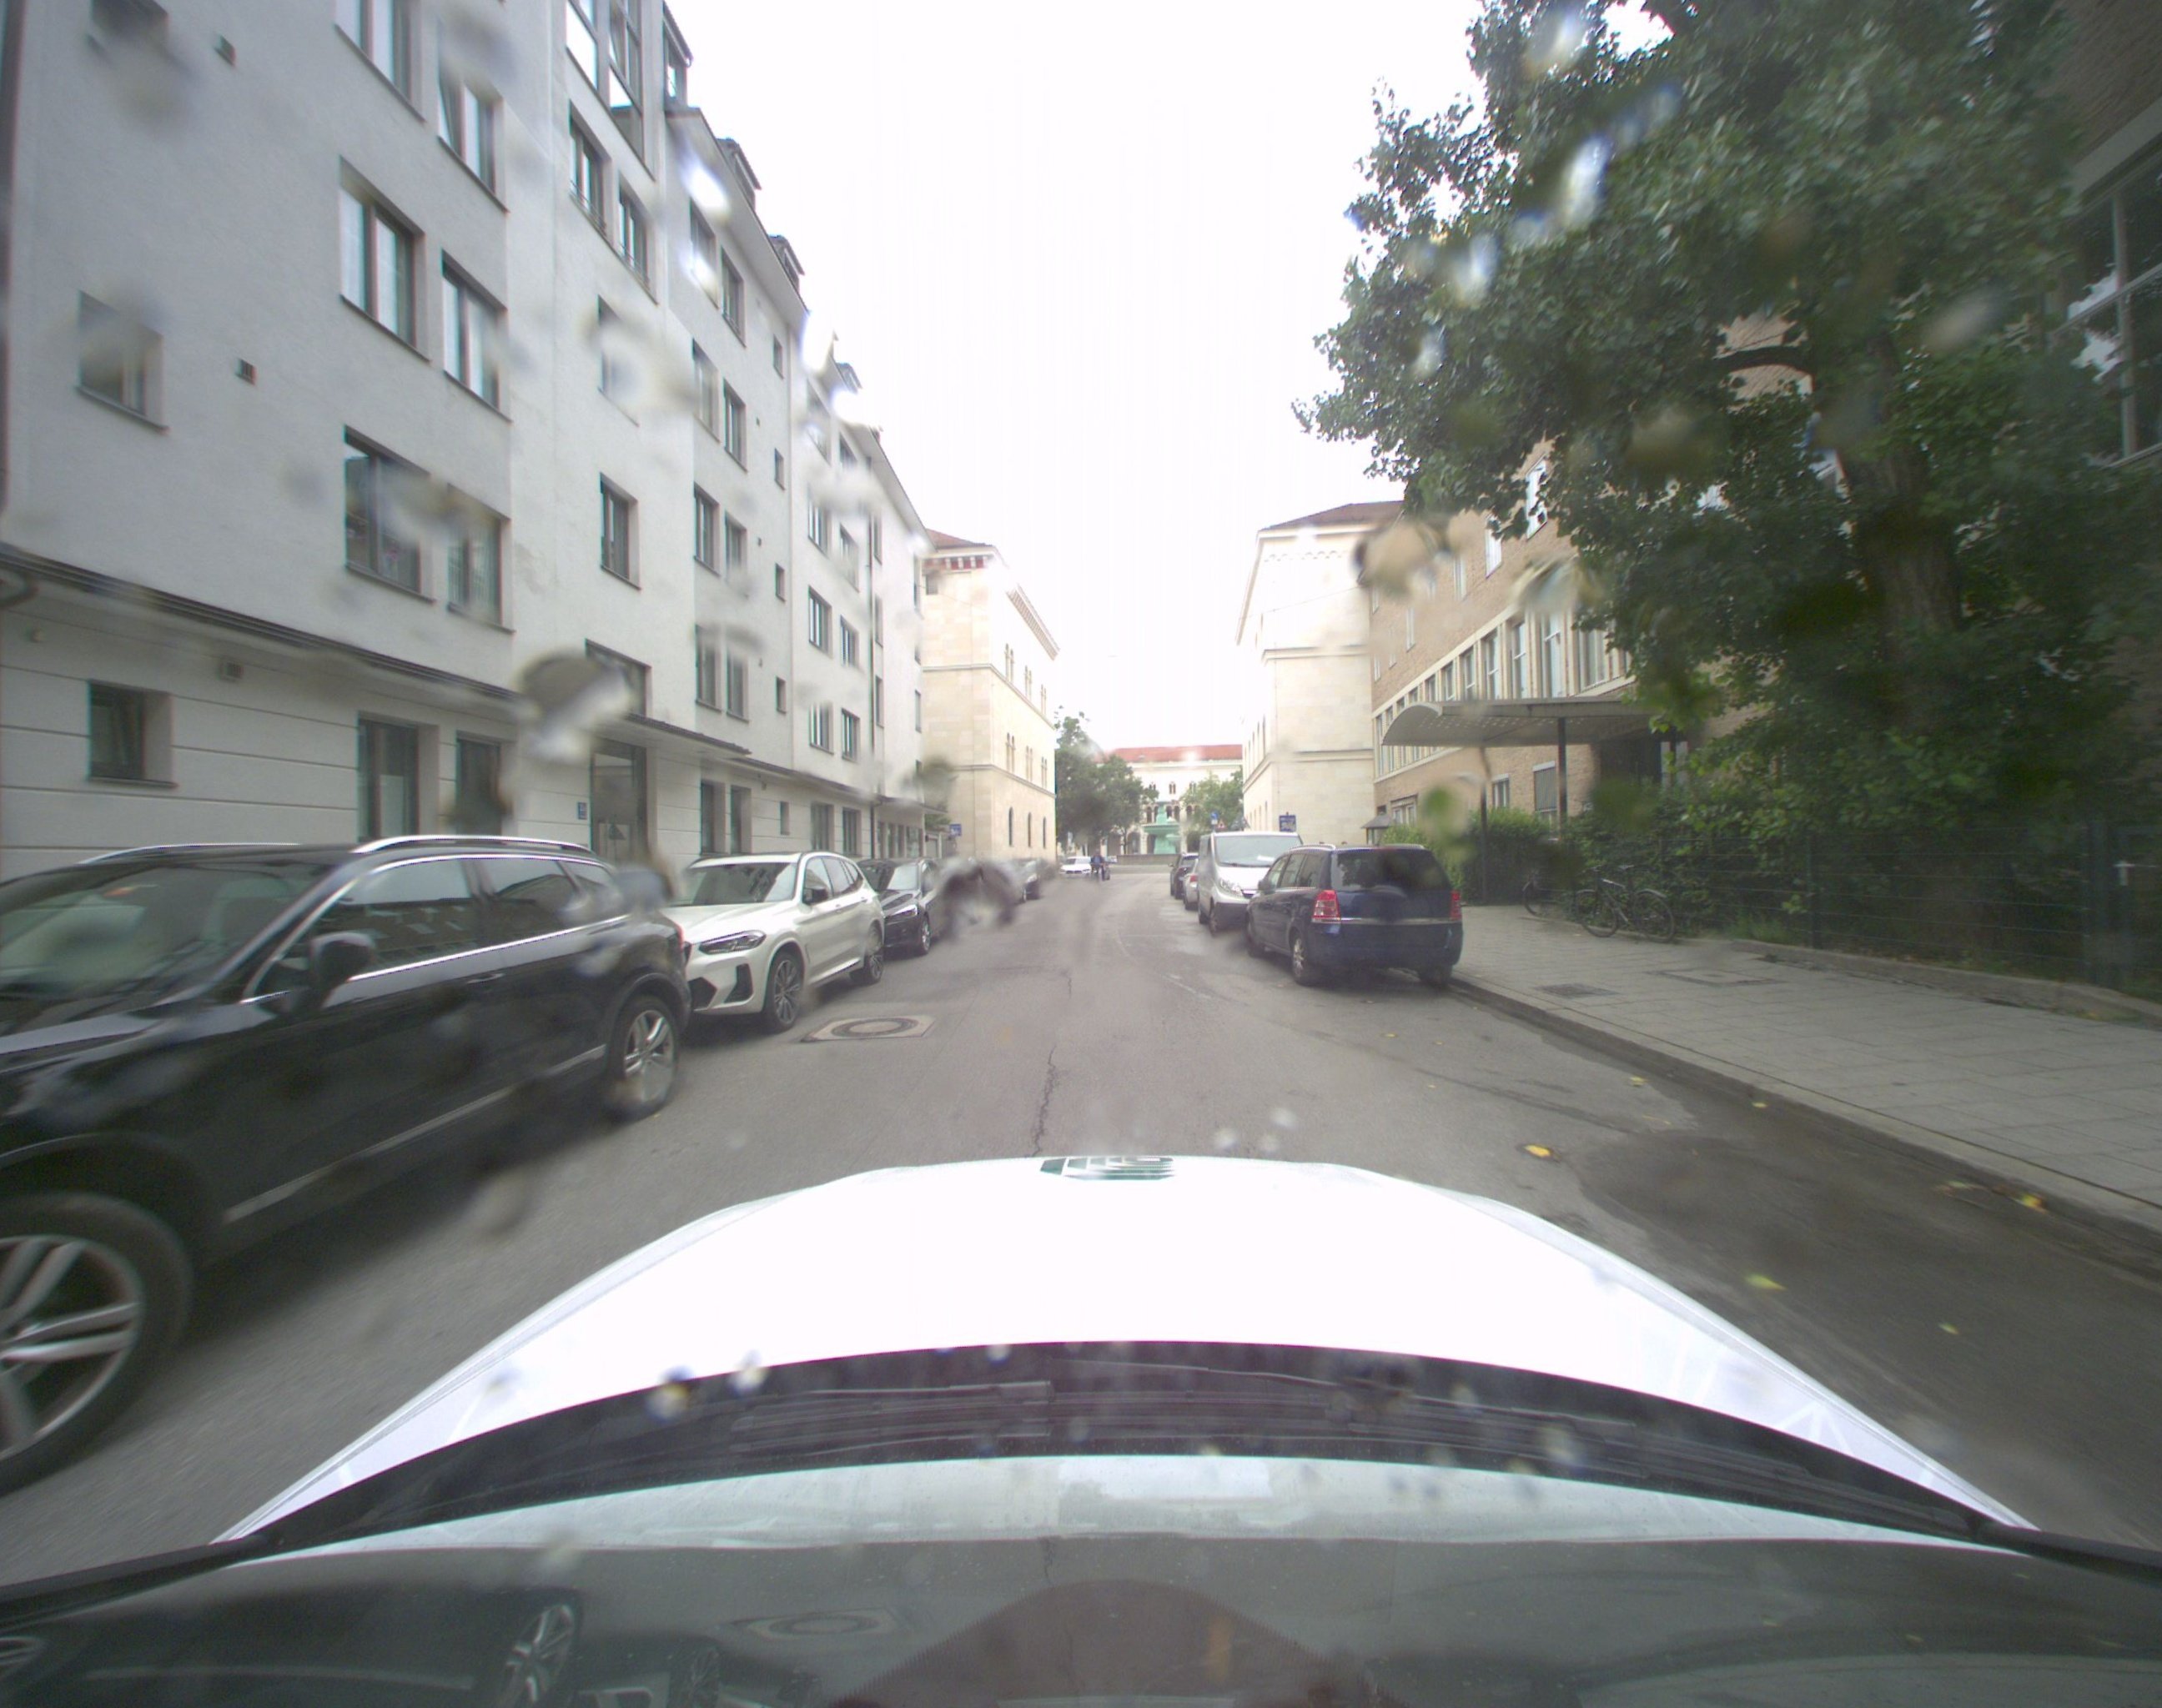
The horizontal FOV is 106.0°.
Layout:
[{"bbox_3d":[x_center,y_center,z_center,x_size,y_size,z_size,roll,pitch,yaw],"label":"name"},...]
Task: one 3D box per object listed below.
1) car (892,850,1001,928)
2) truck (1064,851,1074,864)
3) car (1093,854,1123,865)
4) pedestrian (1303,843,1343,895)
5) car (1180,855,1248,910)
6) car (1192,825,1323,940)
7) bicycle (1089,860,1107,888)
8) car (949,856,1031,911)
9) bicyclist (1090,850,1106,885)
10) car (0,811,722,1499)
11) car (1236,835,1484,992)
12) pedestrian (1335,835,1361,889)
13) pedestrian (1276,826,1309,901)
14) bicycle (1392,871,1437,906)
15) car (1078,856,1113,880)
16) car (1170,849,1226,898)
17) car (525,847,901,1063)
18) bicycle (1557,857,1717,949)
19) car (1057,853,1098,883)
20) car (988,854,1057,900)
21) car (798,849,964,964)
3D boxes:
[{"bbox_3d":[-3.267,0.787,20.557,1.865,1.658,4.082,-3,1,2],"label":"car"},{"bbox_3d":[-2.492,0.712,170.488,1.989,2.489,3.995,-1,0,-4],"label":"truck"},{"bbox_3d":[3.806,0.727,114.793,3.967,1.376,2.003,-2,0,5],"label":"car"},{"bbox_3d":[7.397,0.458,24.884,0.951,1.547,0.671,-1,0,-14],"label":"pedestrian"},{"bbox_3d":[3.778,0.758,23.682,1.665,1.417,4.208,-1,0,6],"label":"car"},{"bbox_3d":[3.341,0.471,16.333,1.874,1.924,4.880,-1,0,4],"label":"car"},{"bbox_3d":[0.778,0.896,36.962,0.646,1.197,1.952,-2,0,4],"label":"bicycle"},{"bbox_3d":[-2.817,0.870,25.980,1.742,1.453,4.021,-3,1,5],"label":"car"},{"bbox_3d":[0.772,0.597,37.052,0.654,1.551,0.888,-2,-1,4],"label":"bicyclist"},{"bbox_3d":[-3.580,0.764,3.526,1.865,1.688,4.522,-3,1,1],"label":"car"},{"bbox_3d":[3.333,0.618,10.660,1.802,1.600,4.215,-1,0,0],"label":"car"},{"bbox_3d":[8.237,0.248,25.123,0.584,1.632,0.879,-1,0,7],"label":"pedestrian"},{"bbox_3d":[6.319,0.282,24.373,0.790,2.197,0.814,-1,0,1],"label":"pedestrian"},{"bbox_3d":[8.587,0.880,21.010,0.515,0.817,1.433,-2,0,-1],"label":"bicycle"},{"bbox_3d":[0.993,0.878,52.250,1.689,1.393,4.220,-3,-1,7],"label":"car"},{"bbox_3d":[4.069,0.642,28.746,1.739,1.593,3.961,-1,0,5],"label":"car"},{"bbox_3d":[-3.502,0.804,8.923,1.865,1.658,4.592,-3,1,1],"label":"car"},{"bbox_3d":[7.367,0.600,10.948,0.667,1.073,2.225,-2,0,2],"label":"bicycle"},{"bbox_3d":[-0.139,0.803,45.934,1.769,1.535,4.219,-3,-1,6],"label":"car"},{"bbox_3d":[-2.123,0.815,30.717,1.741,1.453,4.024,-3,1,7],"label":"car"},{"bbox_3d":[-3.418,0.789,14.870,1.867,1.658,4.589,-3,1,-1],"label":"car"}]
